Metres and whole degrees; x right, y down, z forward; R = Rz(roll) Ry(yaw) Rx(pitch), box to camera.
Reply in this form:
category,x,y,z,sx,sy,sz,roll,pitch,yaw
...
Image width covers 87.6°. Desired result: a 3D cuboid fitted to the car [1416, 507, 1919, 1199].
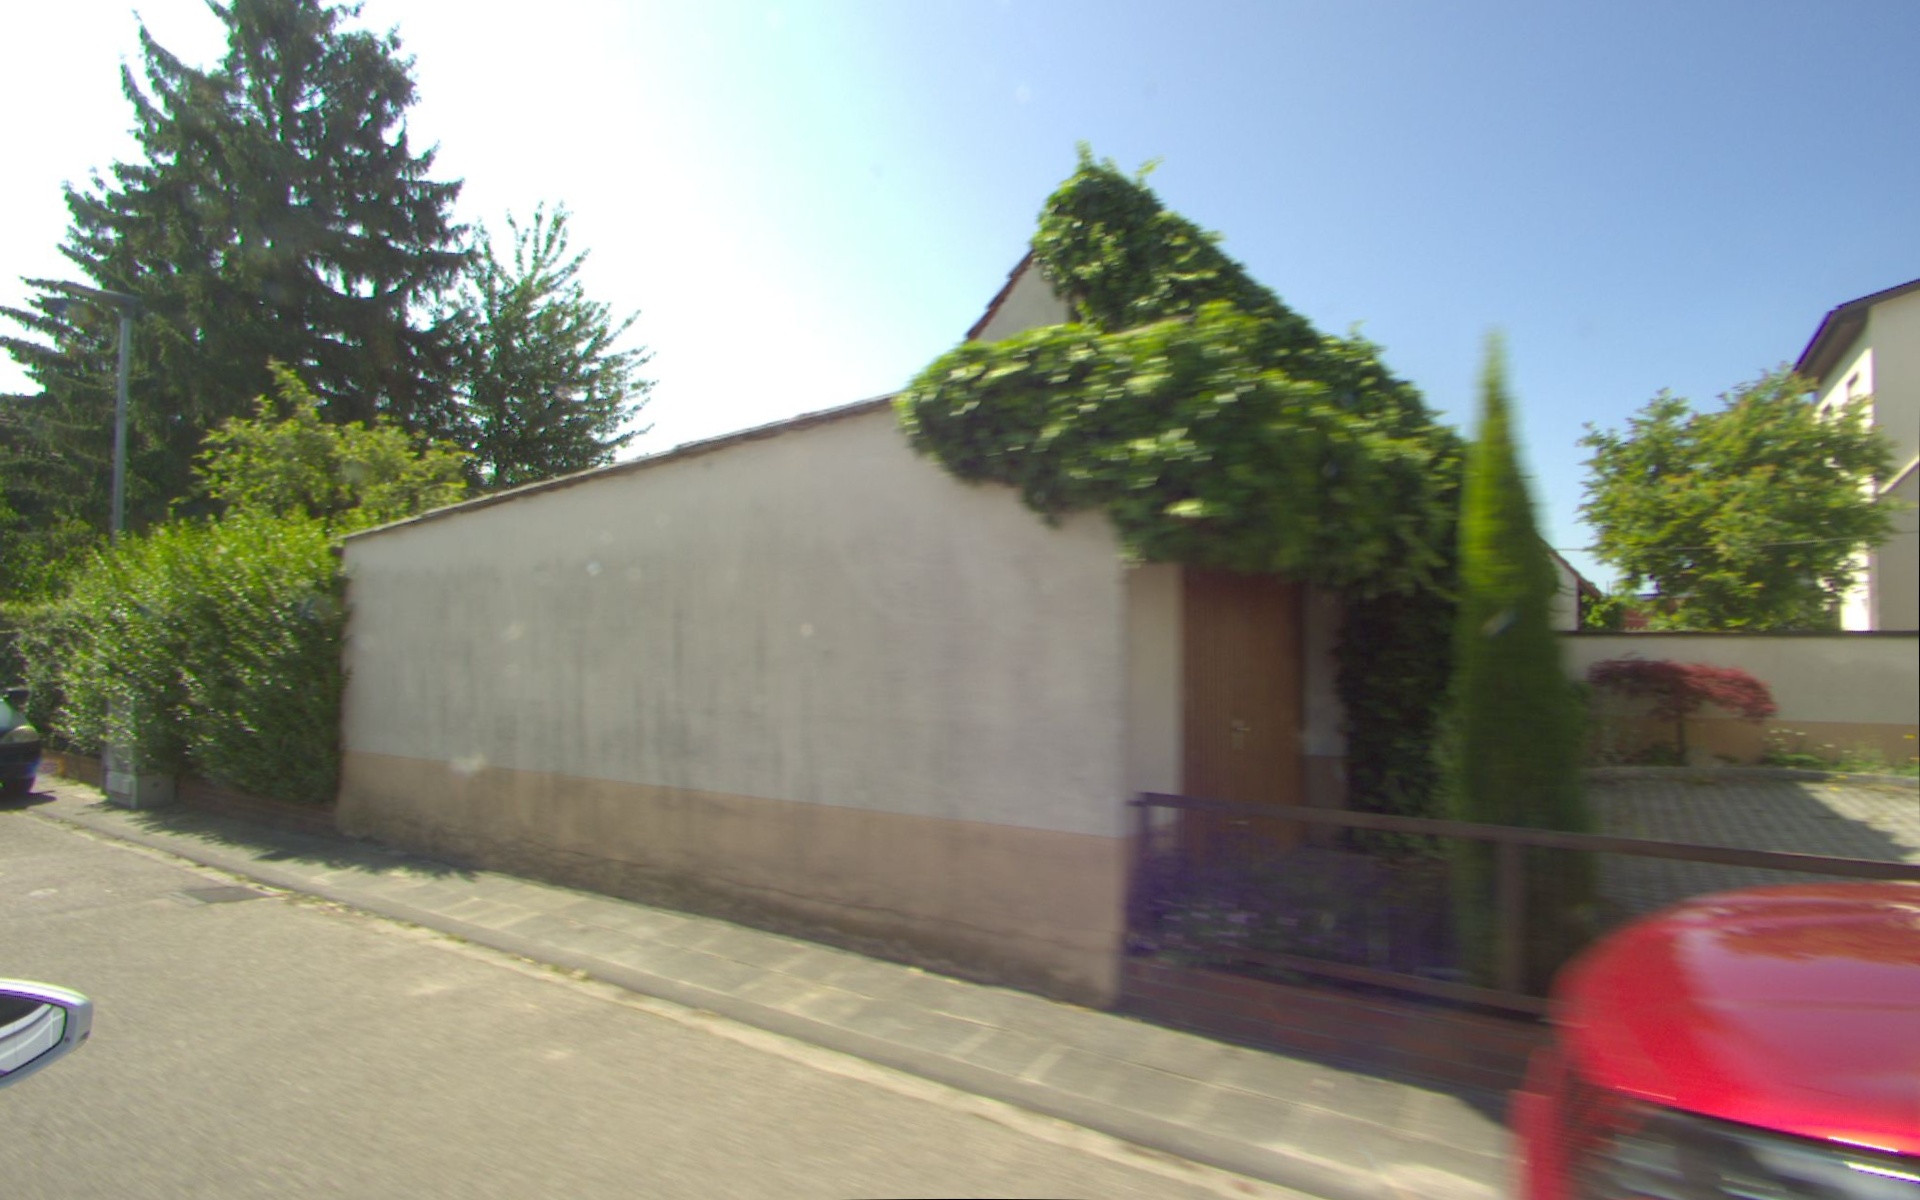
category,x,y,z,sx,sy,sz,roll,pitch,yaw
car,2.661,0.755,0.881,3.942,1.635,1.821,-1,-4,31

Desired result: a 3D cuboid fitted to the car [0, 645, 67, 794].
category,x,y,z,sx,sy,sz,roll,pitch,yaw
car,-10.990,1.160,10.273,3.944,1.416,1.700,-1,-4,33
